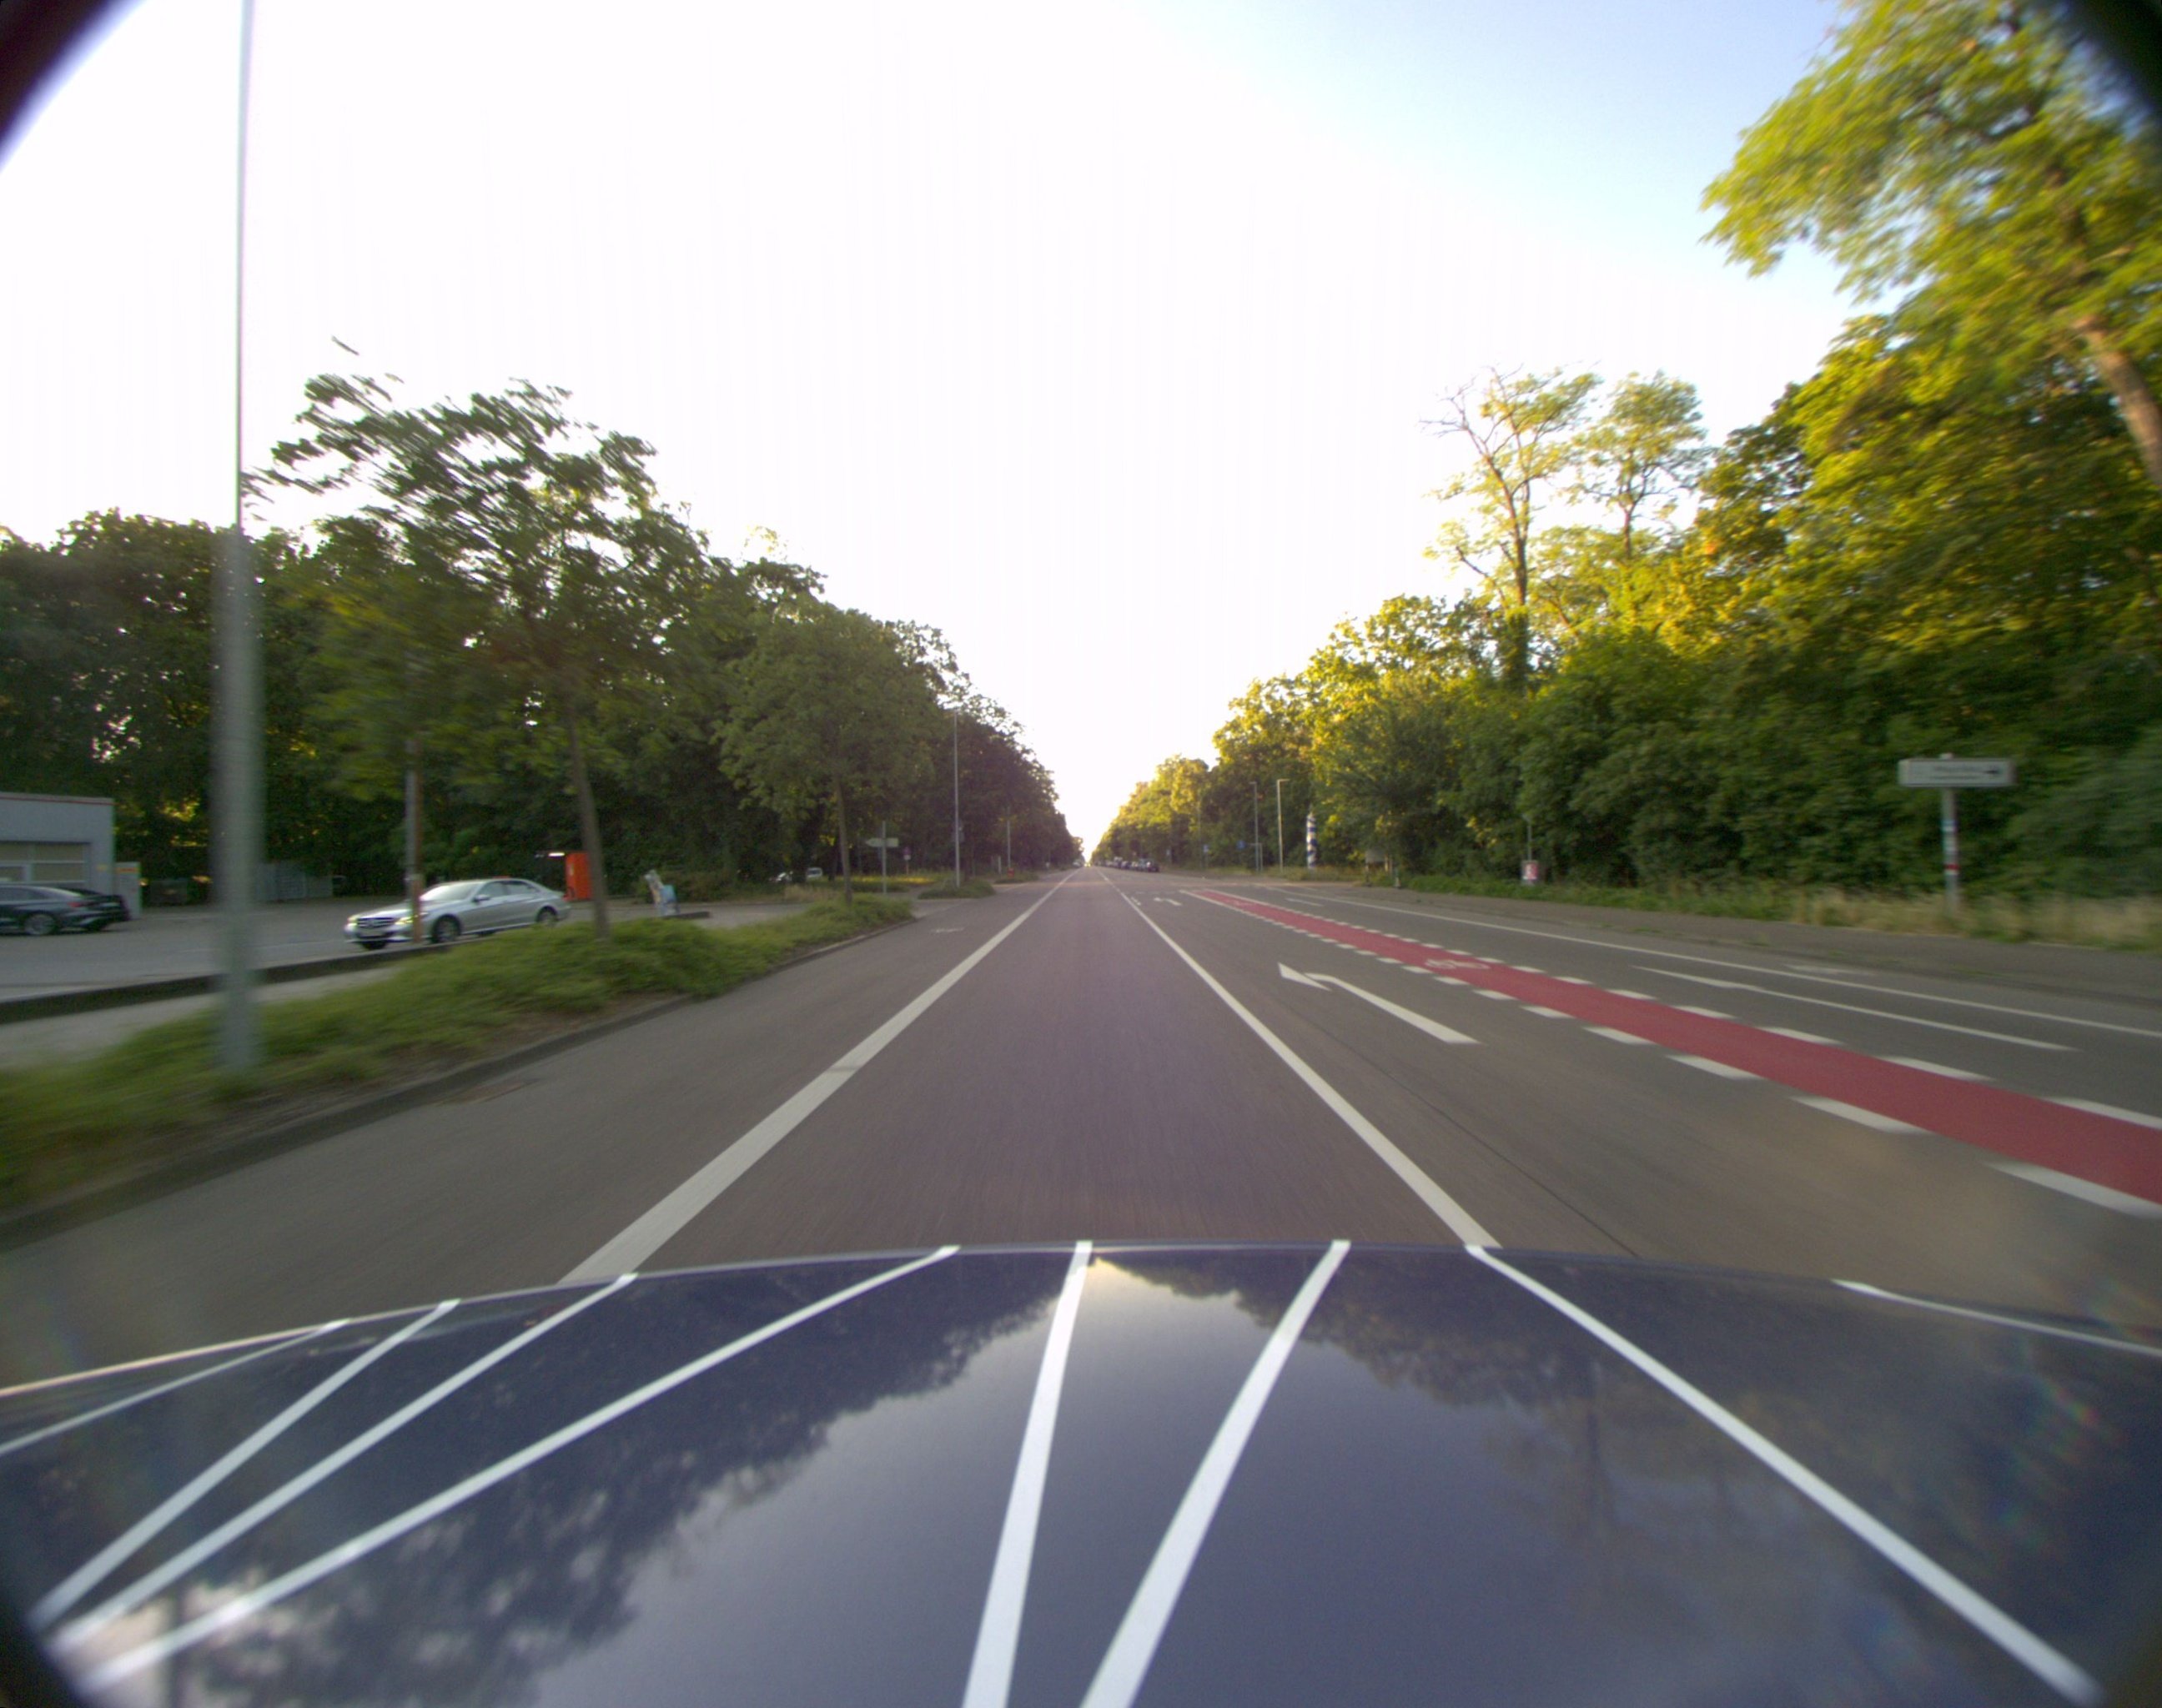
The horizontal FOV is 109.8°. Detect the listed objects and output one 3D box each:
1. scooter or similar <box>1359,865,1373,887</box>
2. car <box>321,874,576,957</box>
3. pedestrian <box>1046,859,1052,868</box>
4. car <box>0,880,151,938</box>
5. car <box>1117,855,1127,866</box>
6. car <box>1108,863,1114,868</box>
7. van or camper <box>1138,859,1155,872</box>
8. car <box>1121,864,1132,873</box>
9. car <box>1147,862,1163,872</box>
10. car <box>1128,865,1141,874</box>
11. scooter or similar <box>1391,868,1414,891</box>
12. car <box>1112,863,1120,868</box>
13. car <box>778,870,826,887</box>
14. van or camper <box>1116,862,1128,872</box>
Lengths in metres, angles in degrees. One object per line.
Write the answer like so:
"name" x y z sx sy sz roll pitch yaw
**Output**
"scooter or similar" 14.950 1.160 39.817 0.360 1.103 0.881 -1 0 43
"car" -14.756 1.339 18.192 1.773 1.574 4.821 -3 0 4
"pedestrian" -5.775 1.699 137.187 0.840 1.741 0.726 -1 0 1
"car" -29.644 1.515 21.388 4.135 1.513 1.670 0 0 -18
"car" 9.888 1.538 183.142 2.084 2.591 7.090 2 -1 0
"car" 9.568 3.561 240.213 1.699 1.636 4.573 1 -1 -1
"van or camper" 10.245 1.792 119.250 2.037 2.081 5.013 1 -1 -3
"car" 8.624 2.725 144.021 1.749 1.701 4.523 1 -1 -1
"car" 11.033 1.916 113.677 1.692 1.453 4.242 1 -1 -5
"car" 9.159 2.587 130.004 1.621 1.525 4.039 1 -1 -4
"scooter or similar" 15.330 1.198 36.238 0.901 1.062 0.495 -1 0 -24
"car" 9.406 3.183 206.486 1.850 1.454 4.229 1 -1 -2
"car" -25.376 2.200 69.241 1.537 1.388 4.007 -1 0 30
"van or camper" 8.630 2.709 159.213 2.008 2.006 5.461 1 -1 -1
